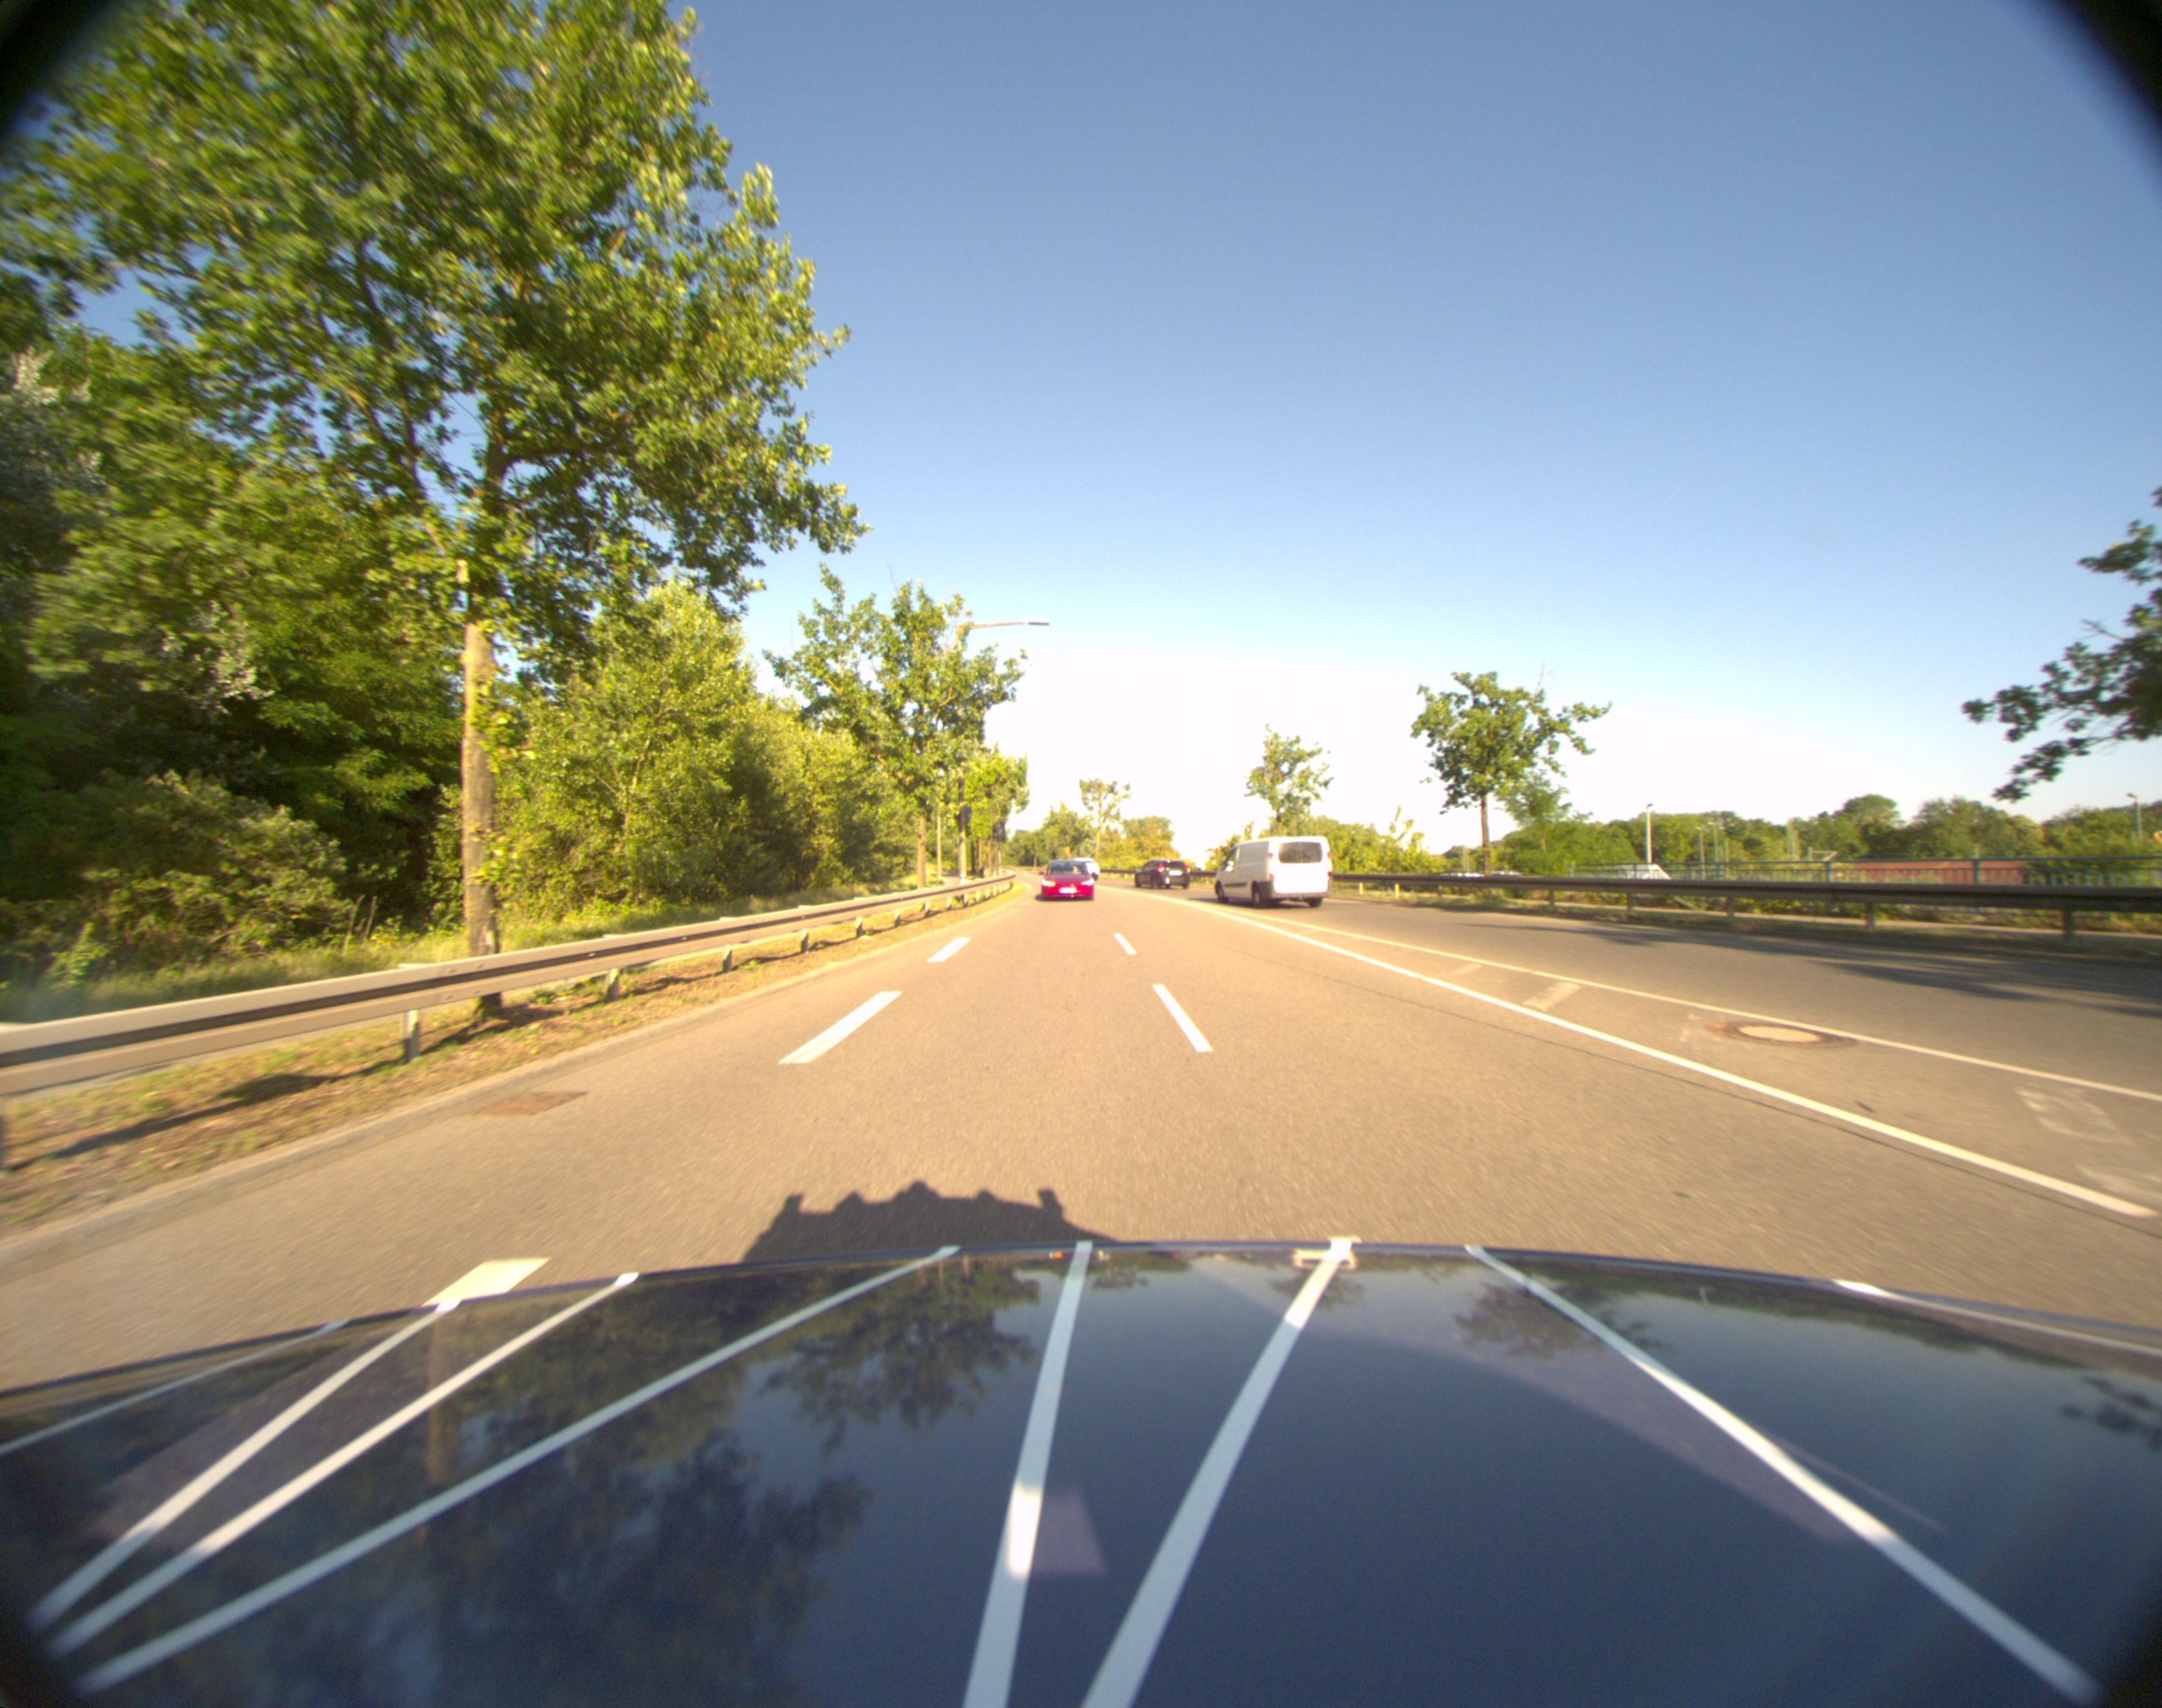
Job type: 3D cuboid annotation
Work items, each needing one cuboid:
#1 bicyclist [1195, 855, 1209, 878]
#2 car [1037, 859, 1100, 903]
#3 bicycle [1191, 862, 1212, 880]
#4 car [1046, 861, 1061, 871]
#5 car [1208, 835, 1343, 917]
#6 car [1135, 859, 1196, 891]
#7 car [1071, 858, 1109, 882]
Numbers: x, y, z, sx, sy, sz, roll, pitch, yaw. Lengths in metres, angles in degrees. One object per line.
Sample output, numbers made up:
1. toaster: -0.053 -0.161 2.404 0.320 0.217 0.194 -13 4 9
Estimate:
1. bicyclist: 7.589 0.778 47.656 0.601 1.450 0.828 1 0 -9
2. car: -0.549 0.917 27.731 1.783 1.433 4.356 1 0 -8
3. bicycle: 7.542 1.034 47.739 0.584 1.070 2.311 1 0 -9
4. car: -4.170 1.864 114.999 1.689 1.415 3.855 2 -1 -10
5. car: 5.443 0.558 22.115 1.884 2.002 5.256 -2 0 -8
6. car: 4.104 0.986 37.530 1.778 1.457 4.379 -1 0 -10
7. car: 0.595 1.093 54.342 1.834 1.580 4.644 -1 0 -10
